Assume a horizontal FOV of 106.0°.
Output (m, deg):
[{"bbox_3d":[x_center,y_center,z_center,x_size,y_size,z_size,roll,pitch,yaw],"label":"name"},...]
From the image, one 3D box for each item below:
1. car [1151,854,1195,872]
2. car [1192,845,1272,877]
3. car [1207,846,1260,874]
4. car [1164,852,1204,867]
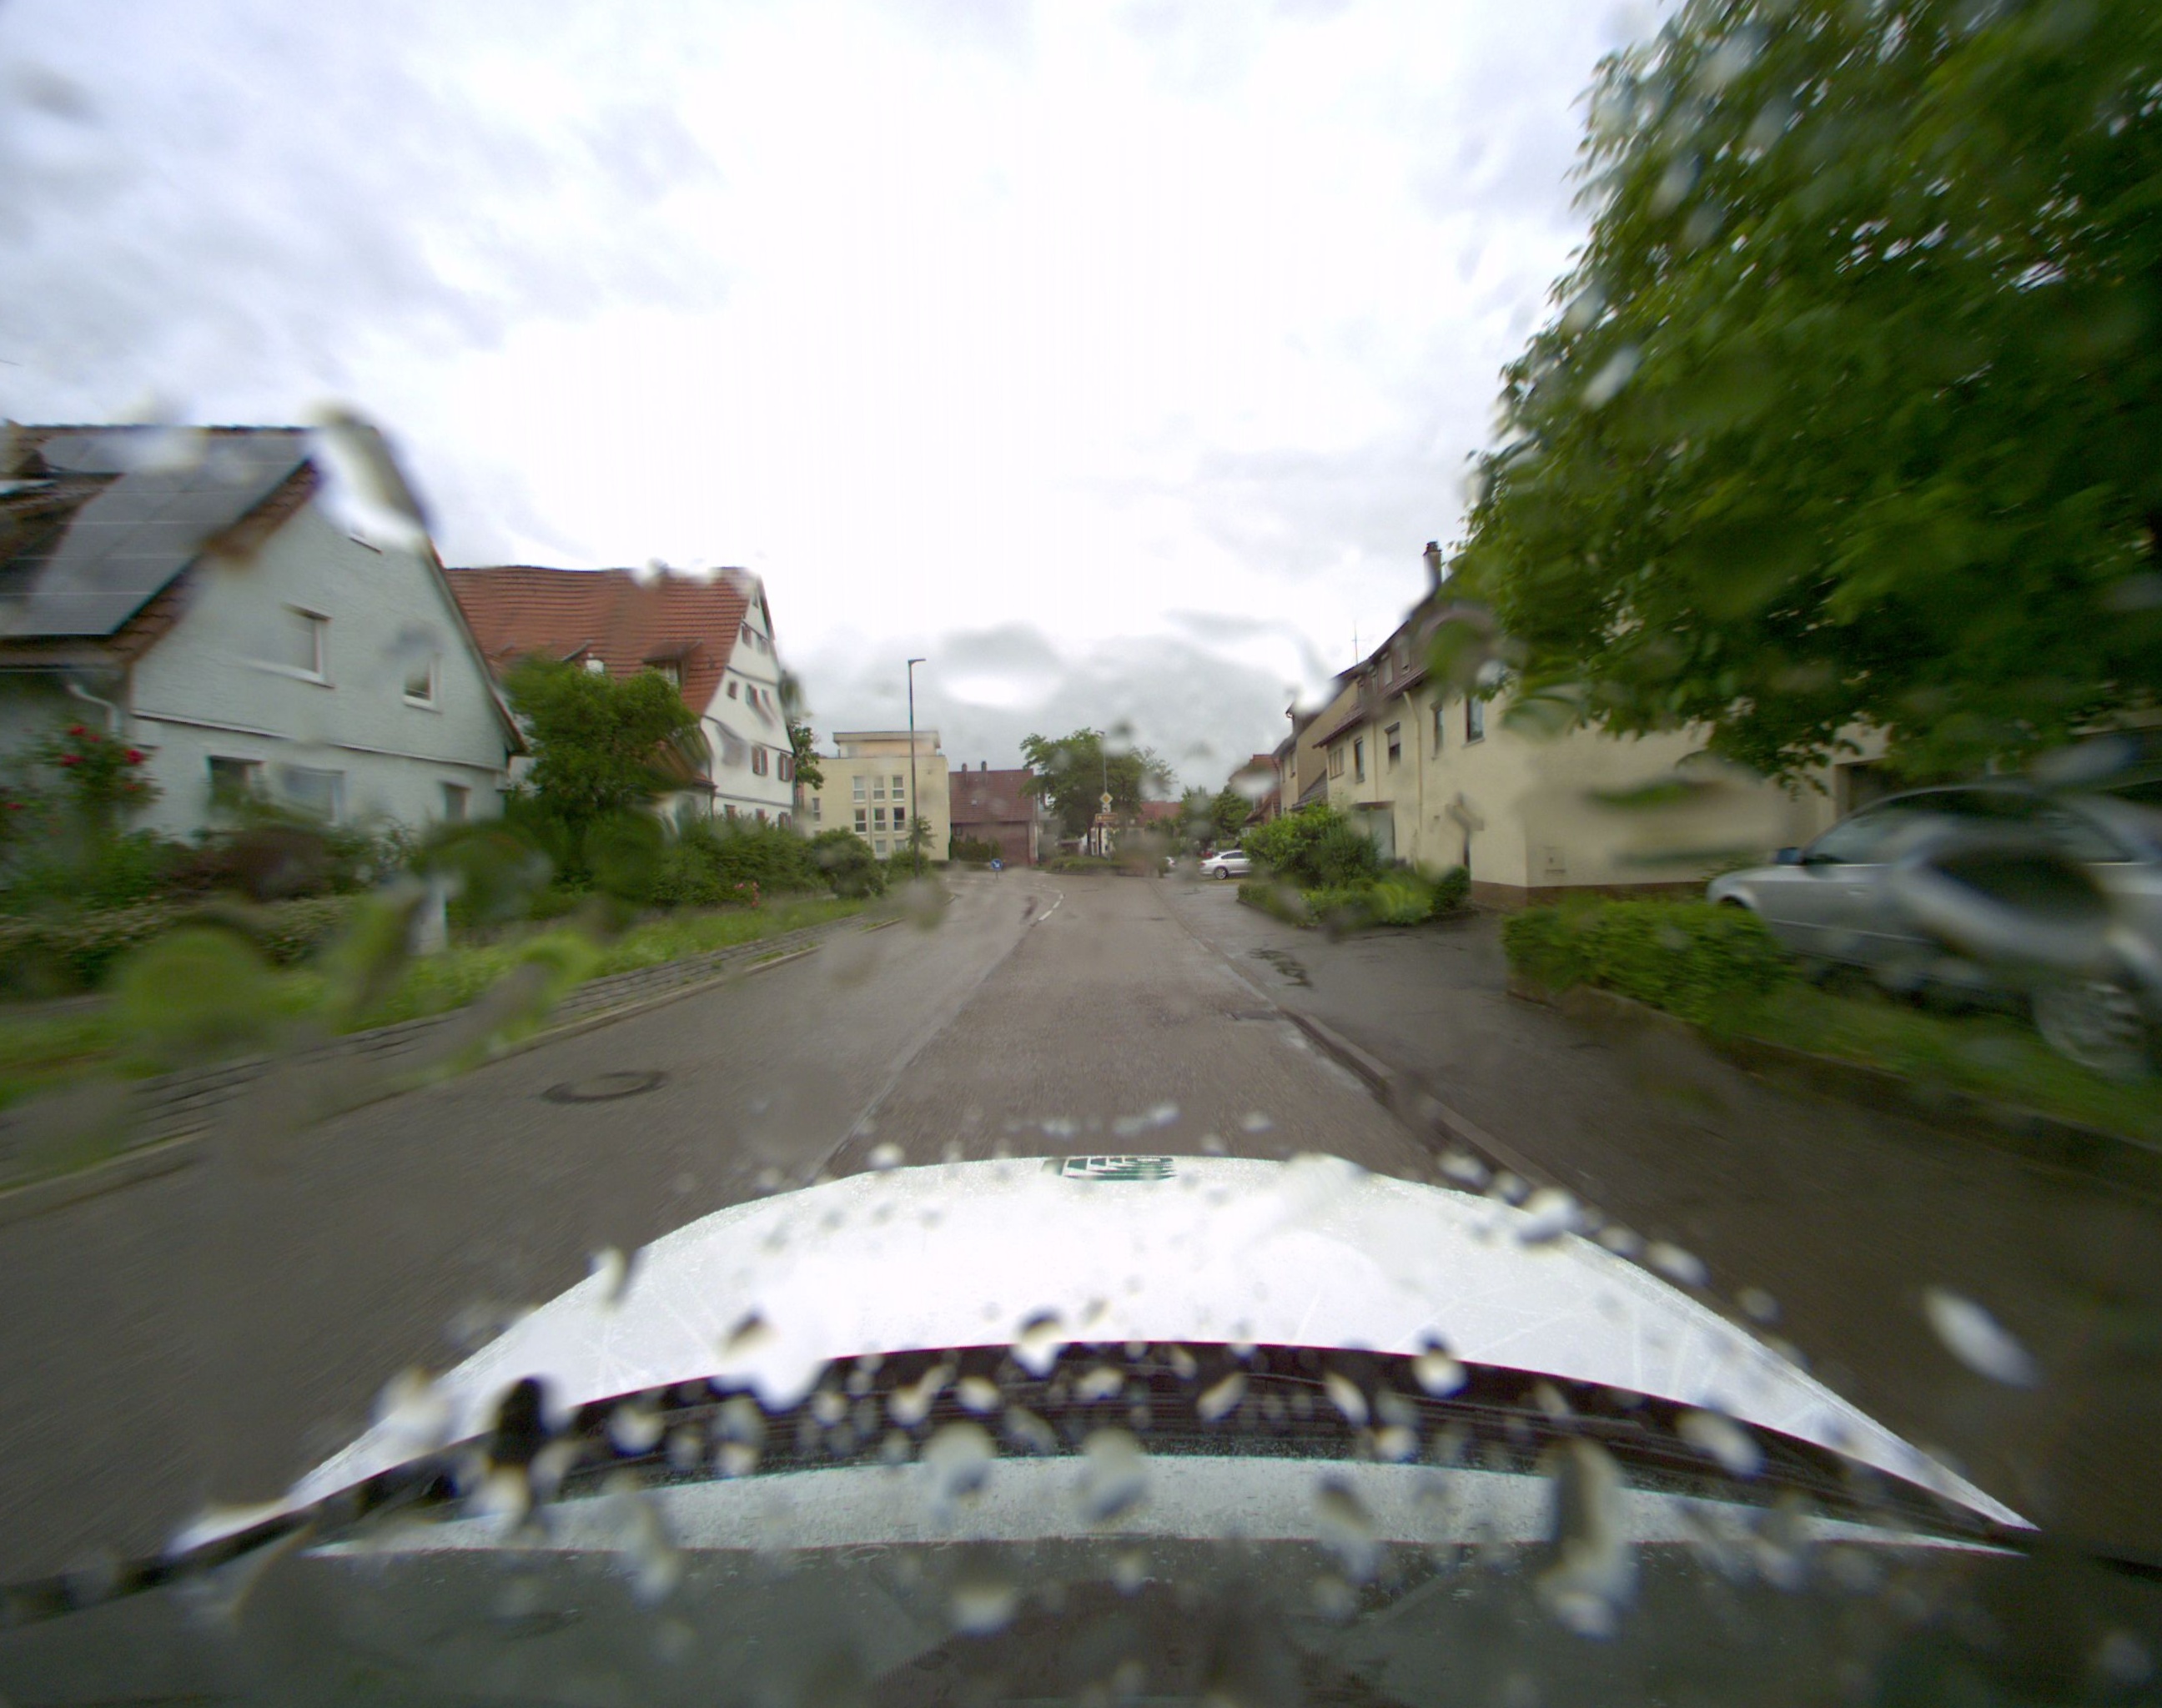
[{"bbox_3d":[8.957,0.865,78.831,3.959,1.626,2.007,-2,0,13],"label":"car"},{"bbox_3d":[7.808,0.365,42.018,3.927,1.408,2.007,-3,-1,12],"label":"car"},{"bbox_3d":[8.886,0.366,47.533,2.889,1.524,1.396,-2,0,14],"label":"car"},{"bbox_3d":[10.665,0.595,84.130,3.963,1.420,2.005,-2,0,9],"label":"car"}]
